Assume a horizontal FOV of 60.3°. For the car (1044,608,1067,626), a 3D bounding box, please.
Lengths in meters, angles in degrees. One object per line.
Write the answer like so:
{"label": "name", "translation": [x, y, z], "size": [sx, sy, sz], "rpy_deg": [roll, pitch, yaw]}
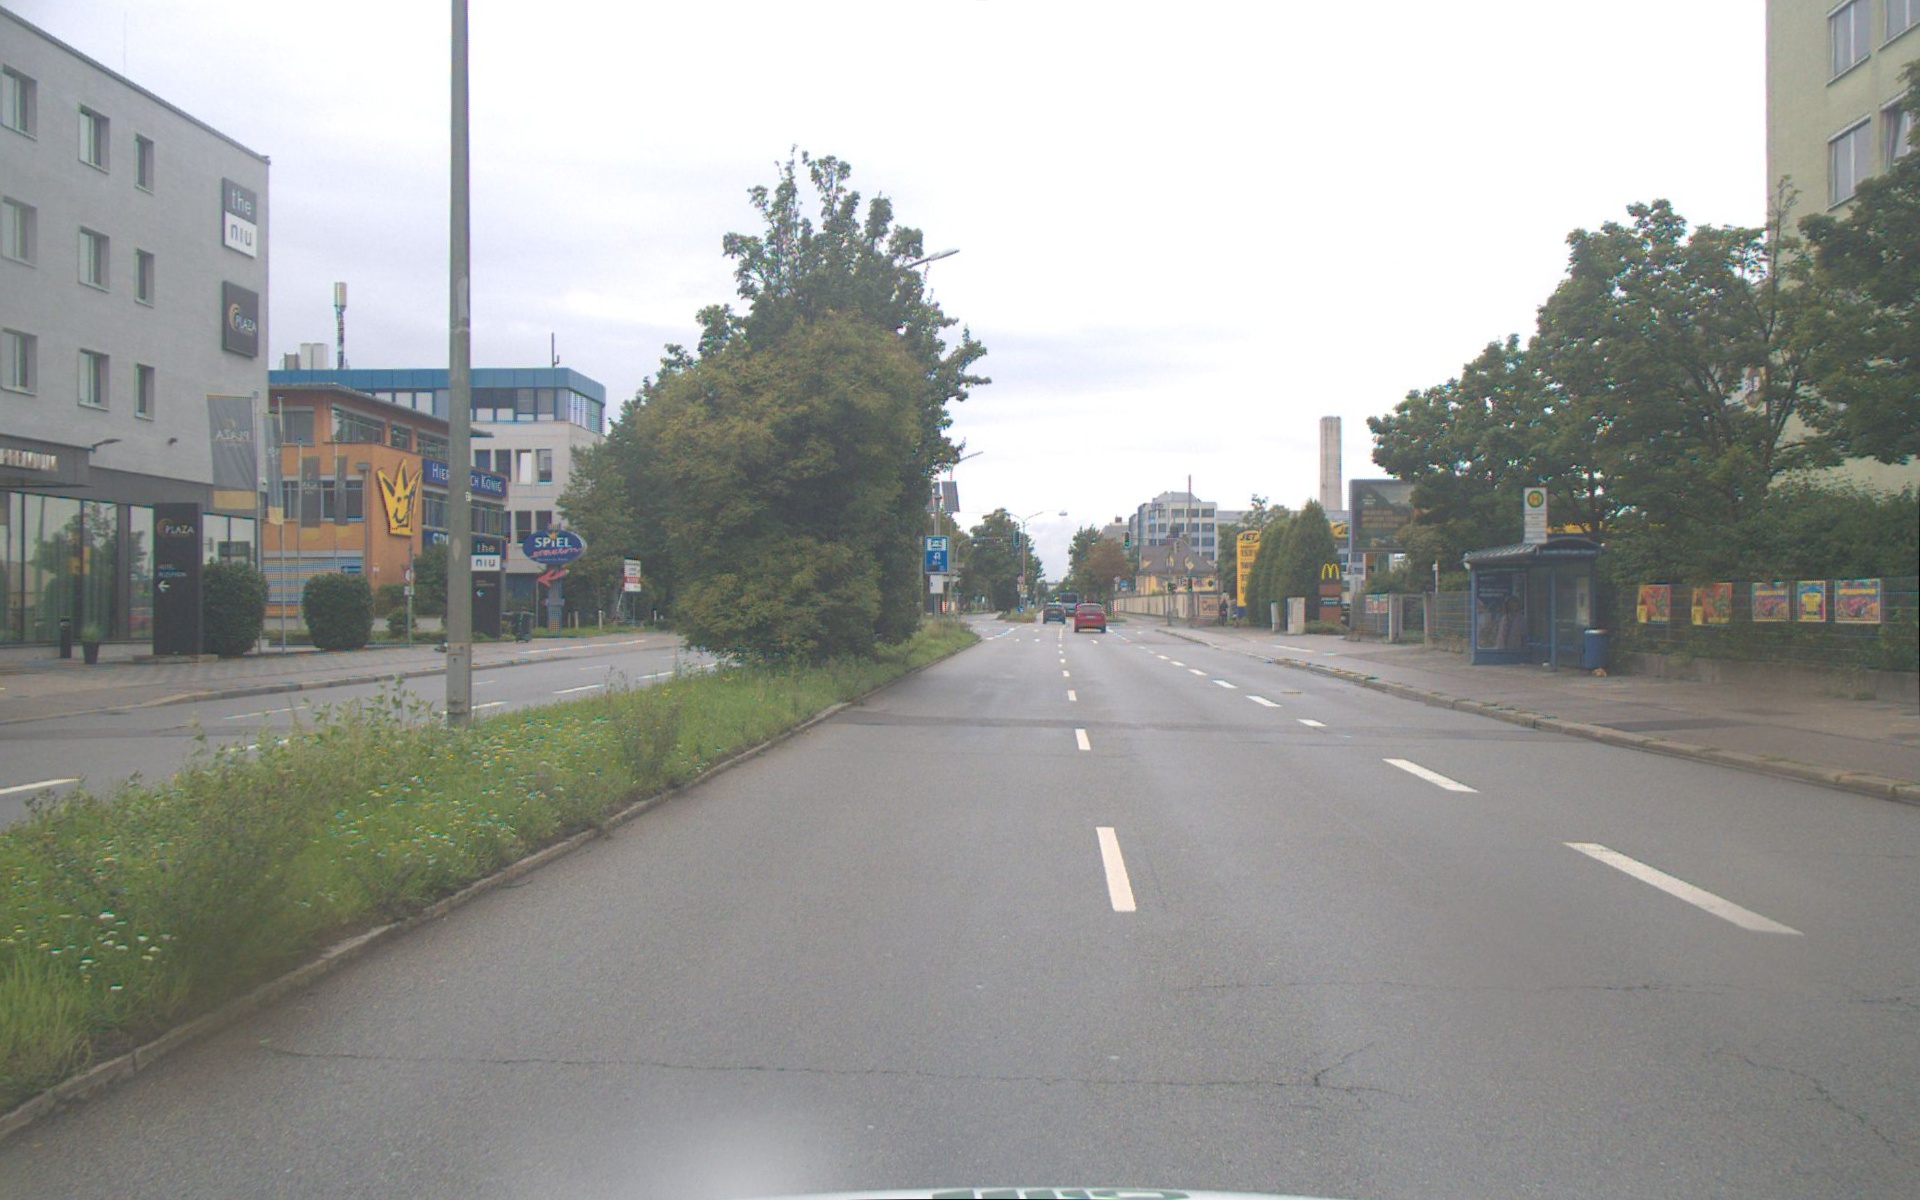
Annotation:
{"label": "car", "translation": [7.809, 1.355, 135.127], "size": [1.766, 1.458, 4.001], "rpy_deg": [0, 0, 1]}

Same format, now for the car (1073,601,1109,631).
{"label": "car", "translation": [7.468, 0.926, 94.389], "size": [1.823, 1.646, 4.000], "rpy_deg": [0, -1, 1]}

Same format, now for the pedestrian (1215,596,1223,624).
{"label": "pedestrian", "translation": [15.721, 0.592, 100.367], "size": [0.473, 1.664, 0.591], "rpy_deg": [0, 0, 7]}

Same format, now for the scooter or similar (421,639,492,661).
{"label": "scooter or similar", "translation": [-15.360, 1.541, 50.560], "size": [1.437, 0.595, 2.320], "rpy_deg": [-1, -3, 0]}

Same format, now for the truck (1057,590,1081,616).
{"label": "truck", "translation": [14.738, 0.399, 223.595], "size": [2.907, 3.343, 7.916], "rpy_deg": [0, 0, 1]}
